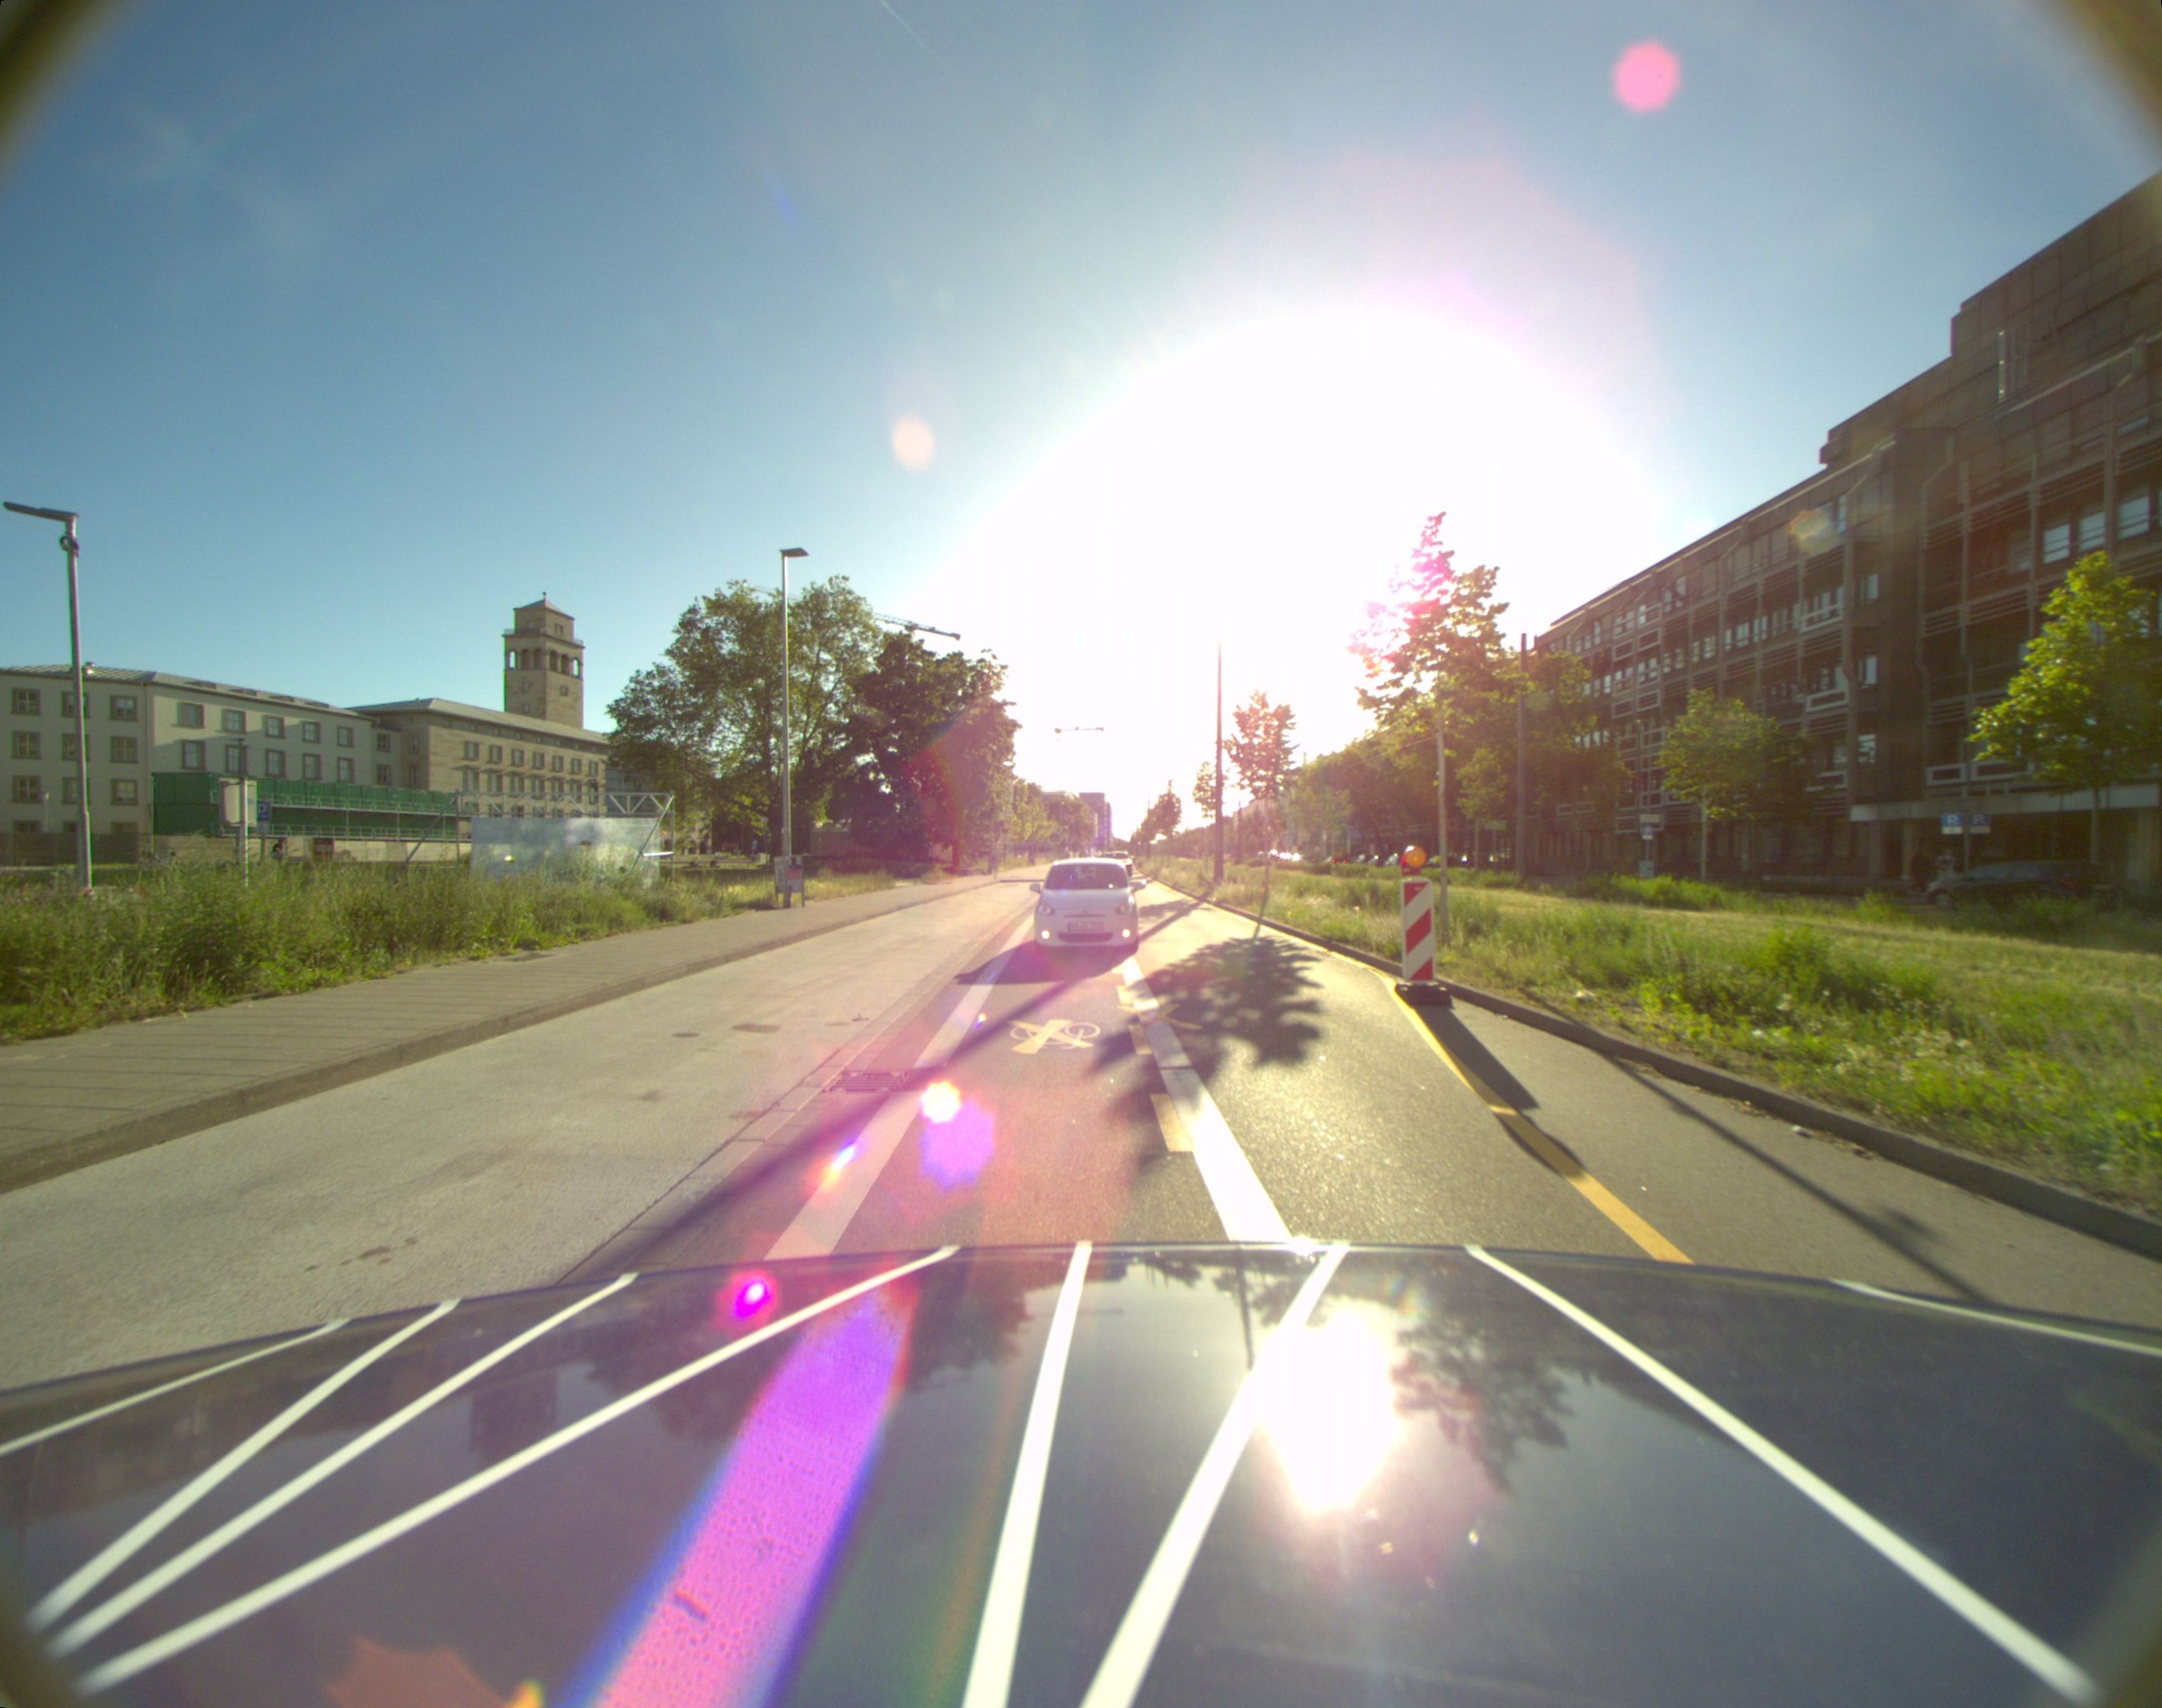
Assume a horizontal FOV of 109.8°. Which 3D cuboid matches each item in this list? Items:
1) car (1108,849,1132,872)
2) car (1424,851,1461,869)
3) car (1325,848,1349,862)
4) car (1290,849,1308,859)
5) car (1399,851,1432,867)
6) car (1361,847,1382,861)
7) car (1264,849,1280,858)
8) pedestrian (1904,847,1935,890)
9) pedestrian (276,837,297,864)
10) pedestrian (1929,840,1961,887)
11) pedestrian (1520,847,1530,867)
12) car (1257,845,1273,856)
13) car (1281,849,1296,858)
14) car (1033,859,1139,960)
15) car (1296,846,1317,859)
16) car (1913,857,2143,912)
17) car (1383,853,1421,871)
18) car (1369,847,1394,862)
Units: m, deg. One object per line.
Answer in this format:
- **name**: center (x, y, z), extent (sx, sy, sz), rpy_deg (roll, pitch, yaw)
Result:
- **car**: center (2.633, 0.436, 51.549), extent (1.458, 1.472, 3.528), rpy_deg (-3, 0, 3)
- **car**: center (33.202, 0.523, 69.917), extent (1.726, 1.535, 3.631), rpy_deg (-2, 0, 2)
- **car**: center (29.927, 0.093, 88.975), extent (1.631, 1.487, 4.418), rpy_deg (1, 0, 4)
- **car**: center (31.382, -0.031, 109.477), extent (1.631, 1.487, 3.780), rpy_deg (1, 0, 4)
- **car**: center (33.288, 0.467, 75.722), extent (1.726, 1.477, 3.631), rpy_deg (-2, 0, 1)
- **car**: center (35.124, 0.021, 92.011), extent (1.390, 1.592, 3.266), rpy_deg (-2, 0, 2)
- **car**: center (28.428, -0.078, 113.081), extent (1.554, 1.371, 3.780), rpy_deg (1, 0, 4)
- **pedestrian**: center (31.016, 0.536, 28.111), extent (0.521, 1.569, 0.536), rpy_deg (1, 1, 6)
- **pedestrian**: center (-39.089, -0.174, 37.384), extent (0.572, 1.288, 0.441), rpy_deg (-2, 2, 17)
- **pedestrian**: center (31.663, 0.350, 27.857), extent (0.521, 1.712, 0.536), rpy_deg (1, 1, 6)
- **pedestrian**: center (38.568, 0.238, 65.958), extent (0.483, 1.739, 0.639), rpy_deg (1, 1, 4)
- **car**: center (29.758, -0.595, 122.839), extent (1.865, 1.671, 3.780), rpy_deg (1, 1, 4)
- **car**: center (32.440, -0.163, 118.741), extent (1.554, 1.371, 3.780), rpy_deg (1, 0, 4)
- **car**: center (0.104, 0.878, 13.456), extent (1.614, 1.489, 3.394), rpy_deg (-1, 0, 1)
- **car**: center (26.697, -0.153, 90.179), extent (1.631, 1.487, 3.780), rpy_deg (1, 0, 4)
- **car**: center (27.019, 0.814, 21.929), extent (1.720, 1.379, 4.040), rpy_deg (-1, 0, 3)
- **car**: center (27.577, 0.651, 65.363), extent (1.720, 1.379, 4.040), rpy_deg (-2, 0, 4)
- **car**: center (34.395, 0.075, 87.030), extent (1.510, 1.592, 3.527), rpy_deg (-2, 0, 2)
